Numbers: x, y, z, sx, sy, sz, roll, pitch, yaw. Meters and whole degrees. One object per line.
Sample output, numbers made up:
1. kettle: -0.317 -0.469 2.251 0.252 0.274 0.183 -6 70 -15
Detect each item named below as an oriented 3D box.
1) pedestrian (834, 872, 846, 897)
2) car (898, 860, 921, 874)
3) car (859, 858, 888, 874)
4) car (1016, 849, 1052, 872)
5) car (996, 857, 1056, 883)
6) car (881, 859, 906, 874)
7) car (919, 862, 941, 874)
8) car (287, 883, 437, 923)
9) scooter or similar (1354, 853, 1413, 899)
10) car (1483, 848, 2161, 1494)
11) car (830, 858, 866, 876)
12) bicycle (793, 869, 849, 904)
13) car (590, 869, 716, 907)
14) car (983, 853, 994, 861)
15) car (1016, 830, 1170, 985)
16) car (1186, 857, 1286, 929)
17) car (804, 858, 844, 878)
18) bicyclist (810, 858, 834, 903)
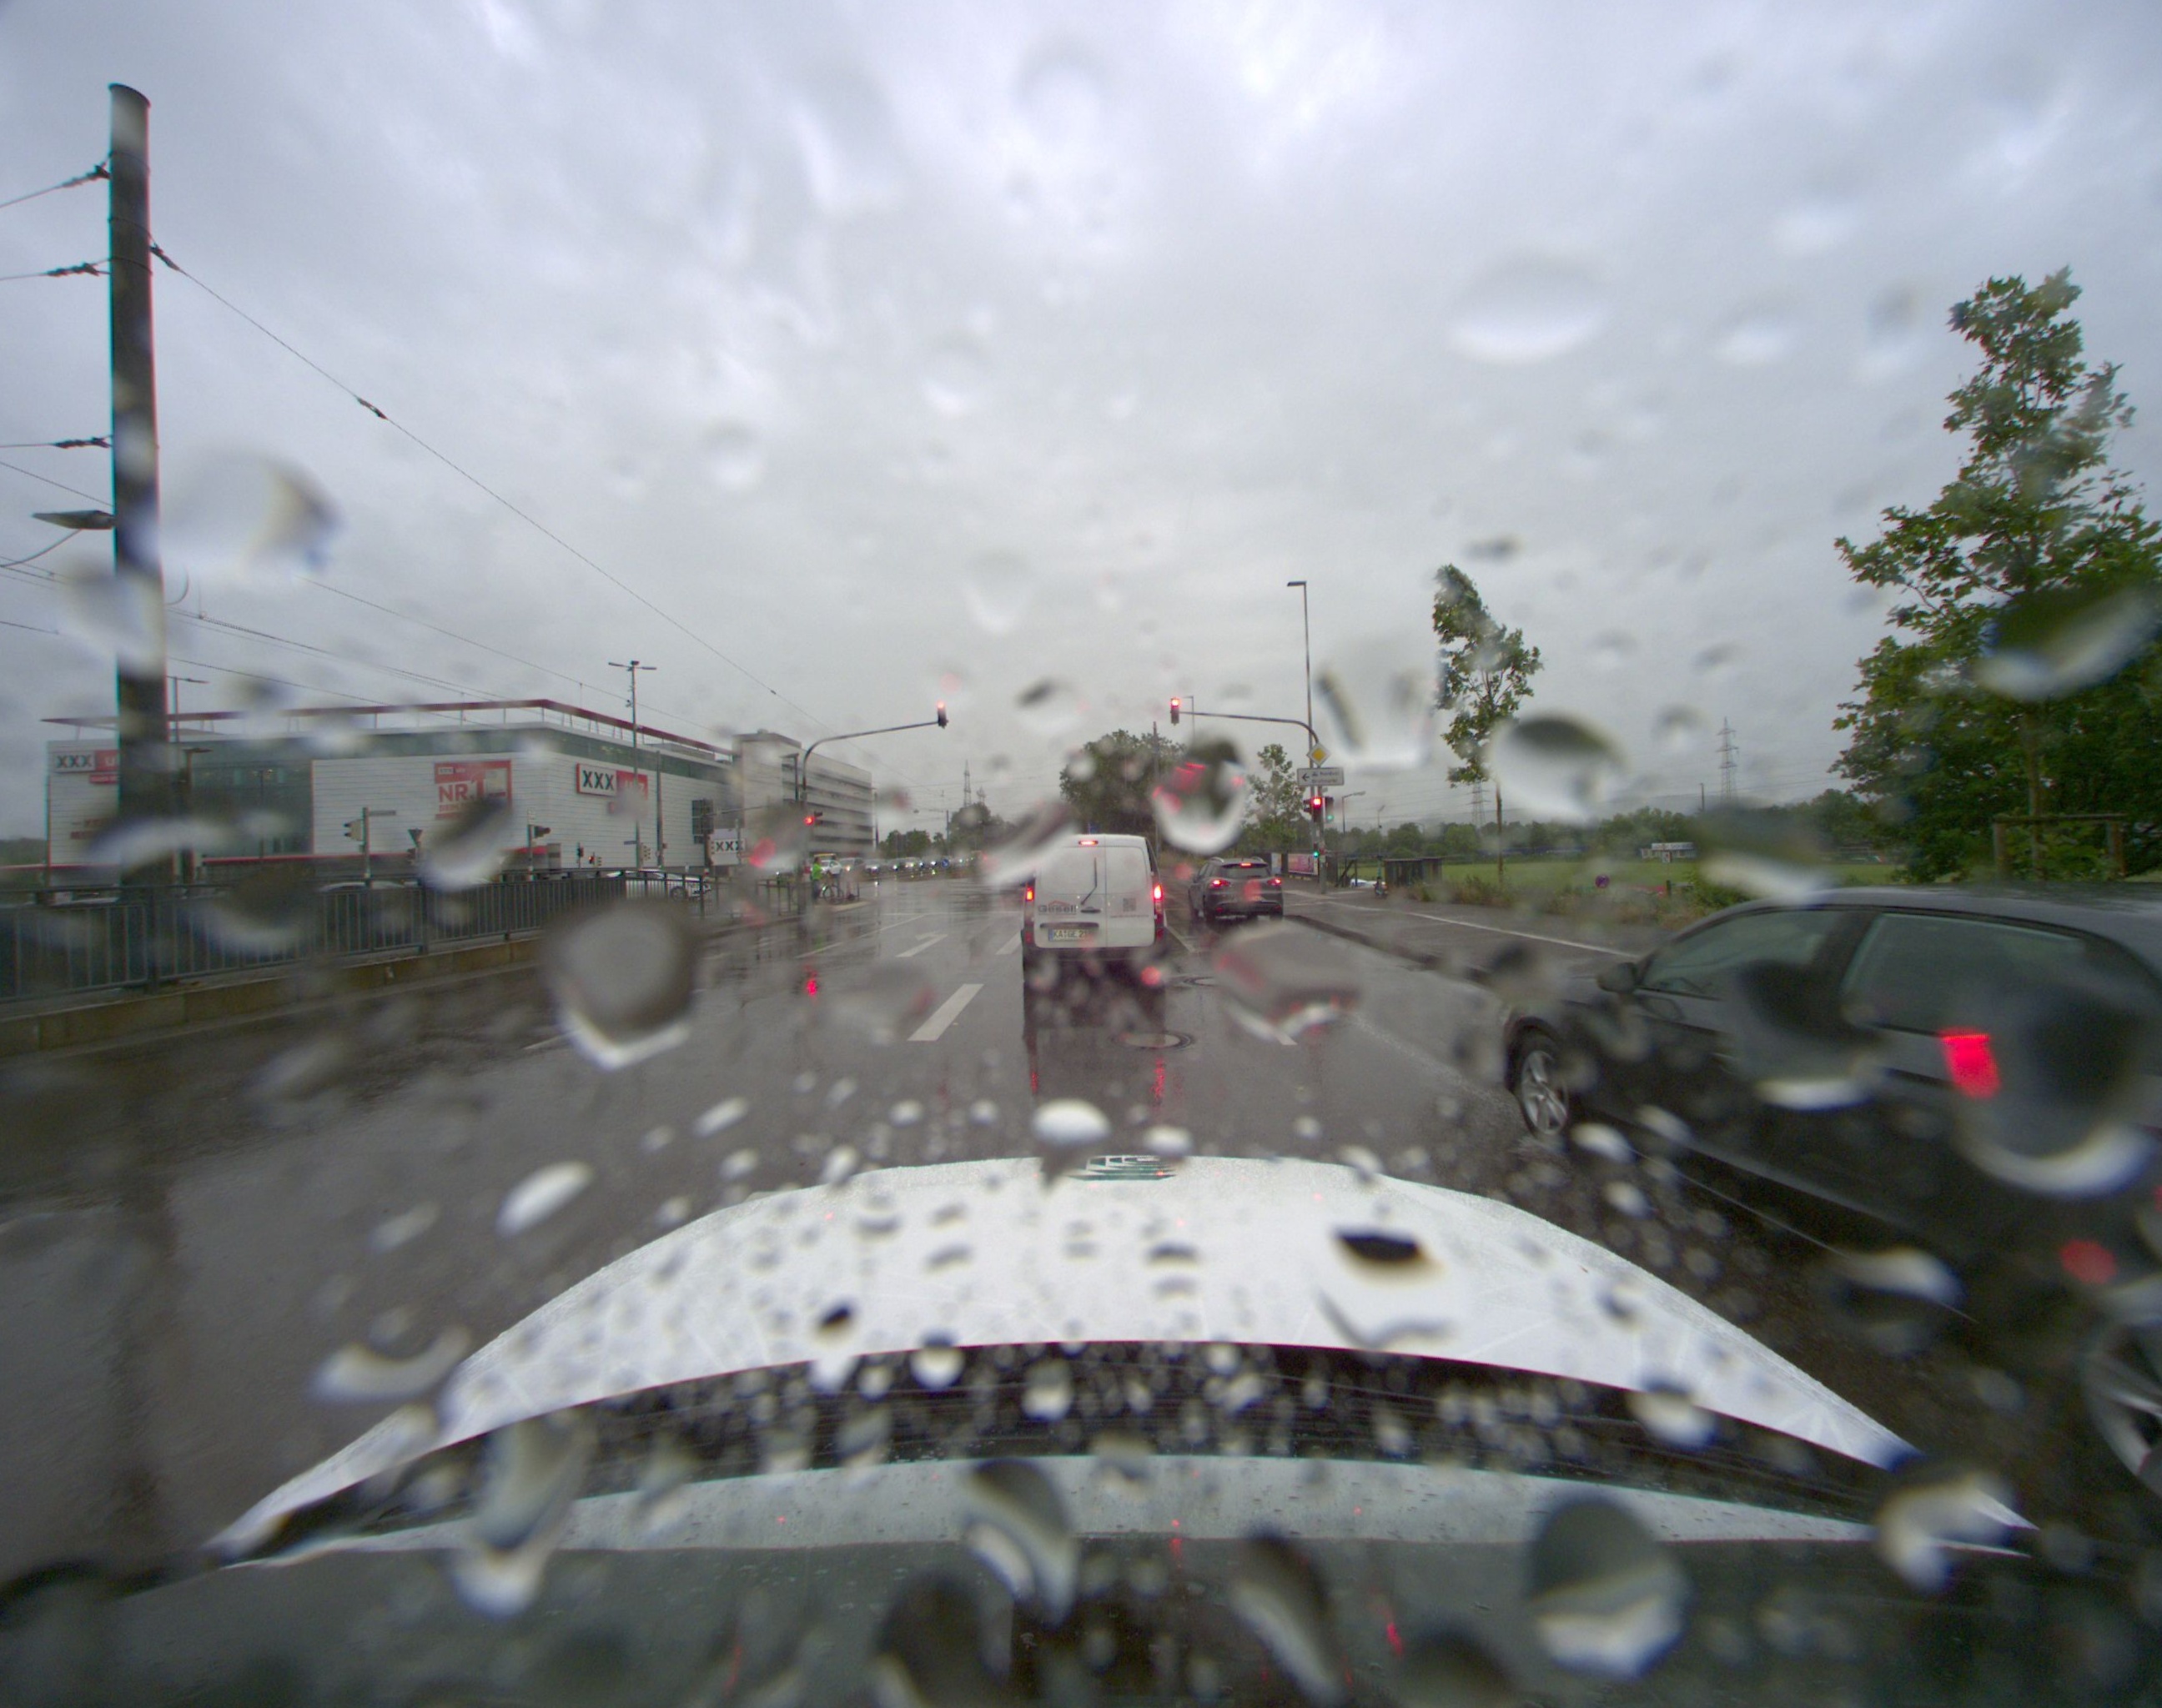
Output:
1. pedestrian: -8.721 1.108 29.468 0.314 0.897 0.380 1 0 -1
2. car: -18.510 1.397 88.109 1.554 1.426 3.569 1 -1 2
3. car: -18.950 1.108 74.544 1.554 1.426 3.569 1 -1 2
4. car: -3.424 0.505 60.430 1.938 1.662 4.471 0 -2 6
5. car: -3.075 0.933 46.465 1.697 1.451 4.221 0 -2 22
6. car: -18.777 1.230 81.625 1.554 1.426 3.569 1 -1 2
7. car: -17.622 1.636 95.403 1.704 1.426 3.810 1 -1 2
8. car: -29.088 1.961 33.022 4.480 1.502 1.714 1 -1 0
9. scooter or similar: 8.629 0.581 23.364 0.687 1.211 3.022 -2 0 3
10. car: 3.127 0.689 2.902 1.592 1.366 3.631 -2 -1 1
11. car: -19.234 1.071 67.311 1.704 1.426 3.810 1 -1 2
12. bicycle: -8.797 1.073 27.599 1.768 1.137 0.514 0 -1 -41
13. car: -17.890 1.425 34.238 4.256 1.502 1.816 1 -1 -8
14. car: -16.784 0.570 148.252 1.554 1.426 3.569 1 -1 2
15. car: 0.085 0.592 11.438 1.749 1.750 4.166 -1 0 -2
16. car: 3.533 0.838 19.164 1.678 1.508 3.921 0 -1 1
17. car: -19.330 1.084 61.402 1.704 1.426 3.810 1 -1 2
18. bicyclist: -8.772 0.882 27.618 0.608 1.491 0.593 0 -1 -39
